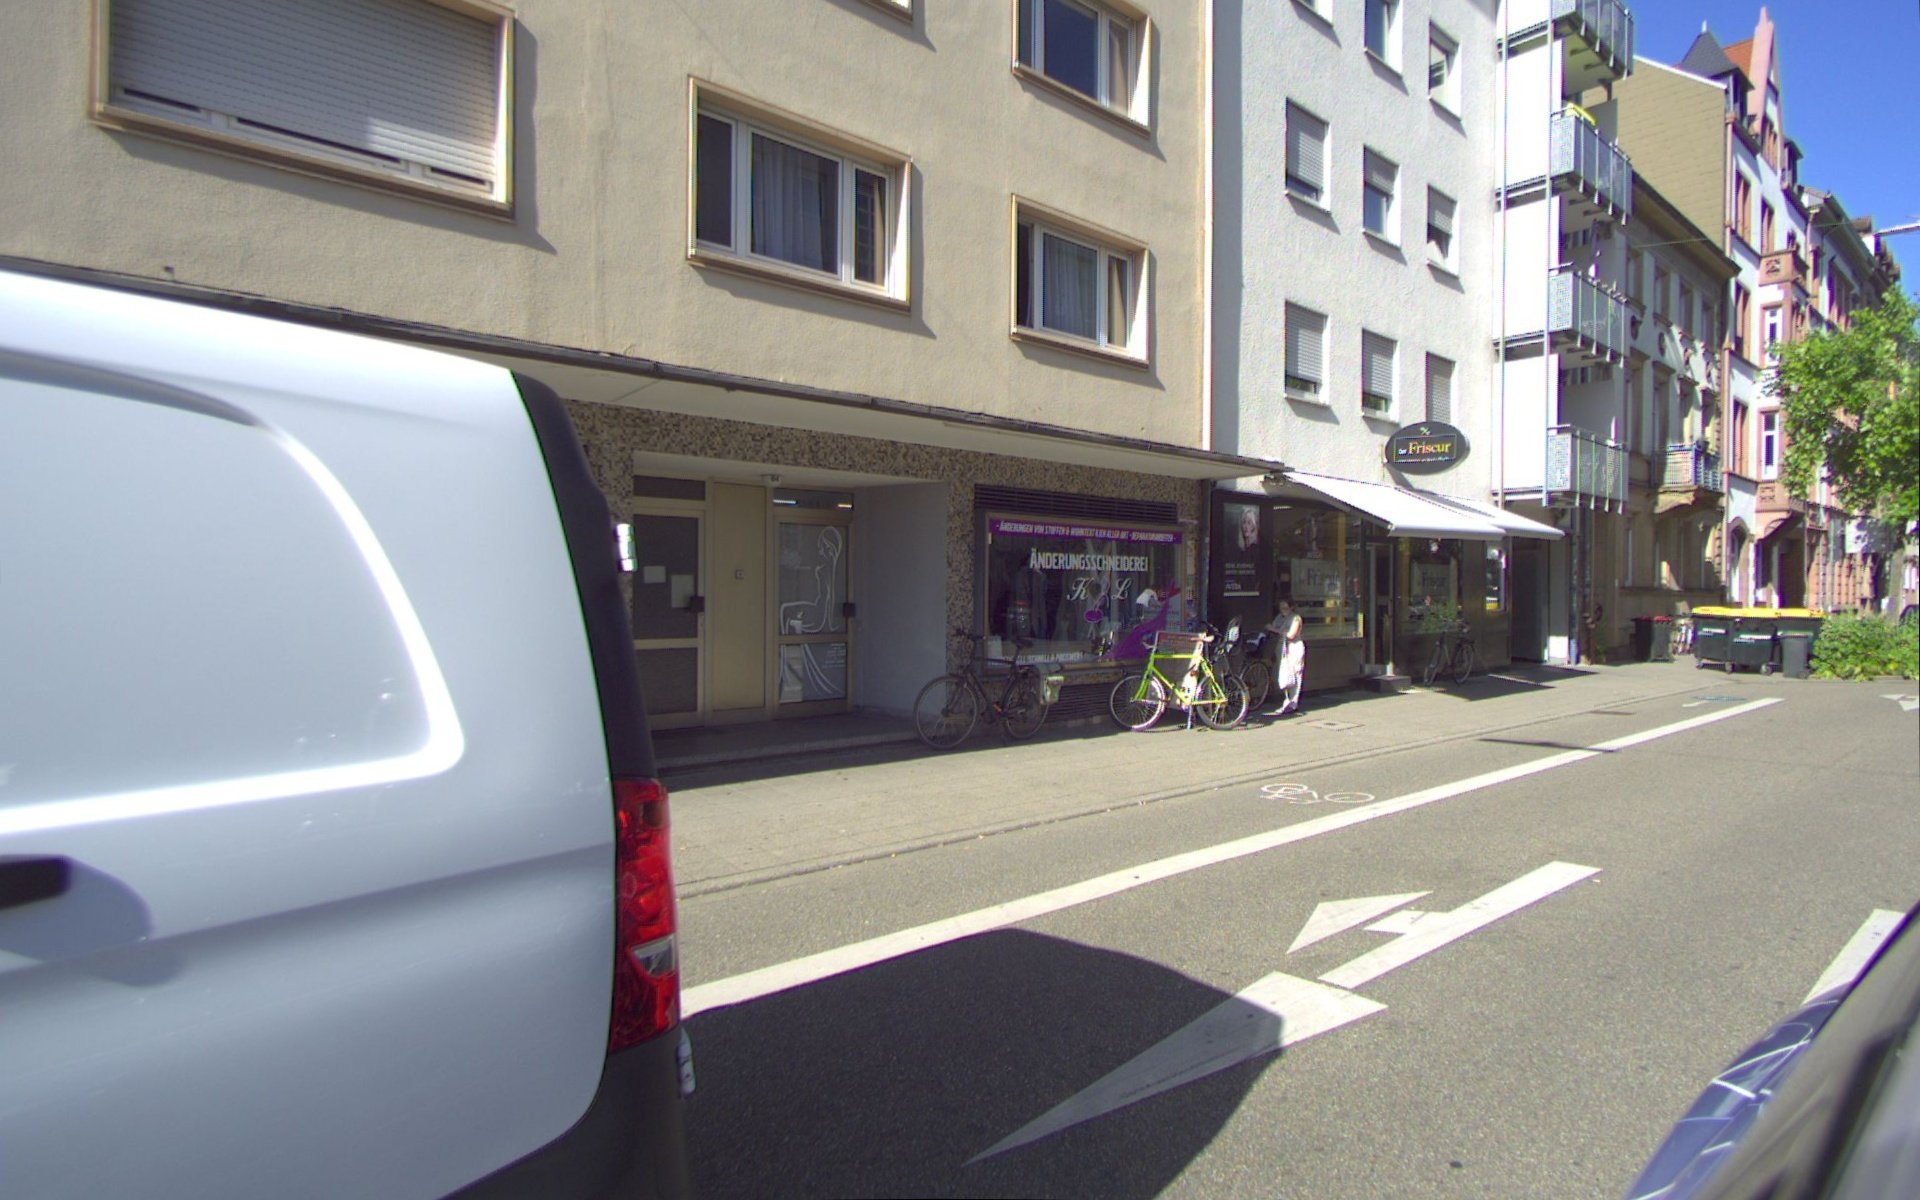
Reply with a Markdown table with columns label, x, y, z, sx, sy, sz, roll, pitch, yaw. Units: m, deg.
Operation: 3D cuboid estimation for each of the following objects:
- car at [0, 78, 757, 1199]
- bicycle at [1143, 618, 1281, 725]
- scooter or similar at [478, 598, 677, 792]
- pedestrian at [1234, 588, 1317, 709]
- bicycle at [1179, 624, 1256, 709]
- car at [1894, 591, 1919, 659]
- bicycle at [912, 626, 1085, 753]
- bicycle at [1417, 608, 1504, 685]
| label | x | y | z | sx | sy | sz | roll | pitch | yaw |
| --- | --- | --- | --- | --- | --- | --- | --- | --- | --- |
| car | -2.689 | 0.468 | 0.538 | 4.750 | 1.833 | 1.971 | -1 | 1 | -42 |
| bicycle | 2.876 | 0.783 | 11.538 | 1.475 | 1.120 | 0.719 | 1 | 0 | 18 |
| scooter or similar | -2.670 | 0.613 | 7.115 | 1.207 | 1.240 | 0.527 | 0 | 0 | -41 |
| pedestrian | 4.023 | 0.594 | 12.921 | 0.774 | 1.460 | 0.615 | 4 | 2 | 45 |
| bicycle | 3.277 | 0.822 | 12.842 | 1.155 | 0.995 | 0.375 | 0 | 0 | -43 |
| car | 24.239 | 0.584 | 24.787 | 3.485 | 1.616 | 1.626 | 0 | 1 | -41 |
| bicycle | 0.403 | 0.826 | 9.839 | 1.766 | 1.098 | 0.408 | 0 | 3 | -36 |
| bicycle | 8.233 | 0.733 | 16.612 | 1.743 | 1.157 | 0.598 | 0 | 3 | -41 |
